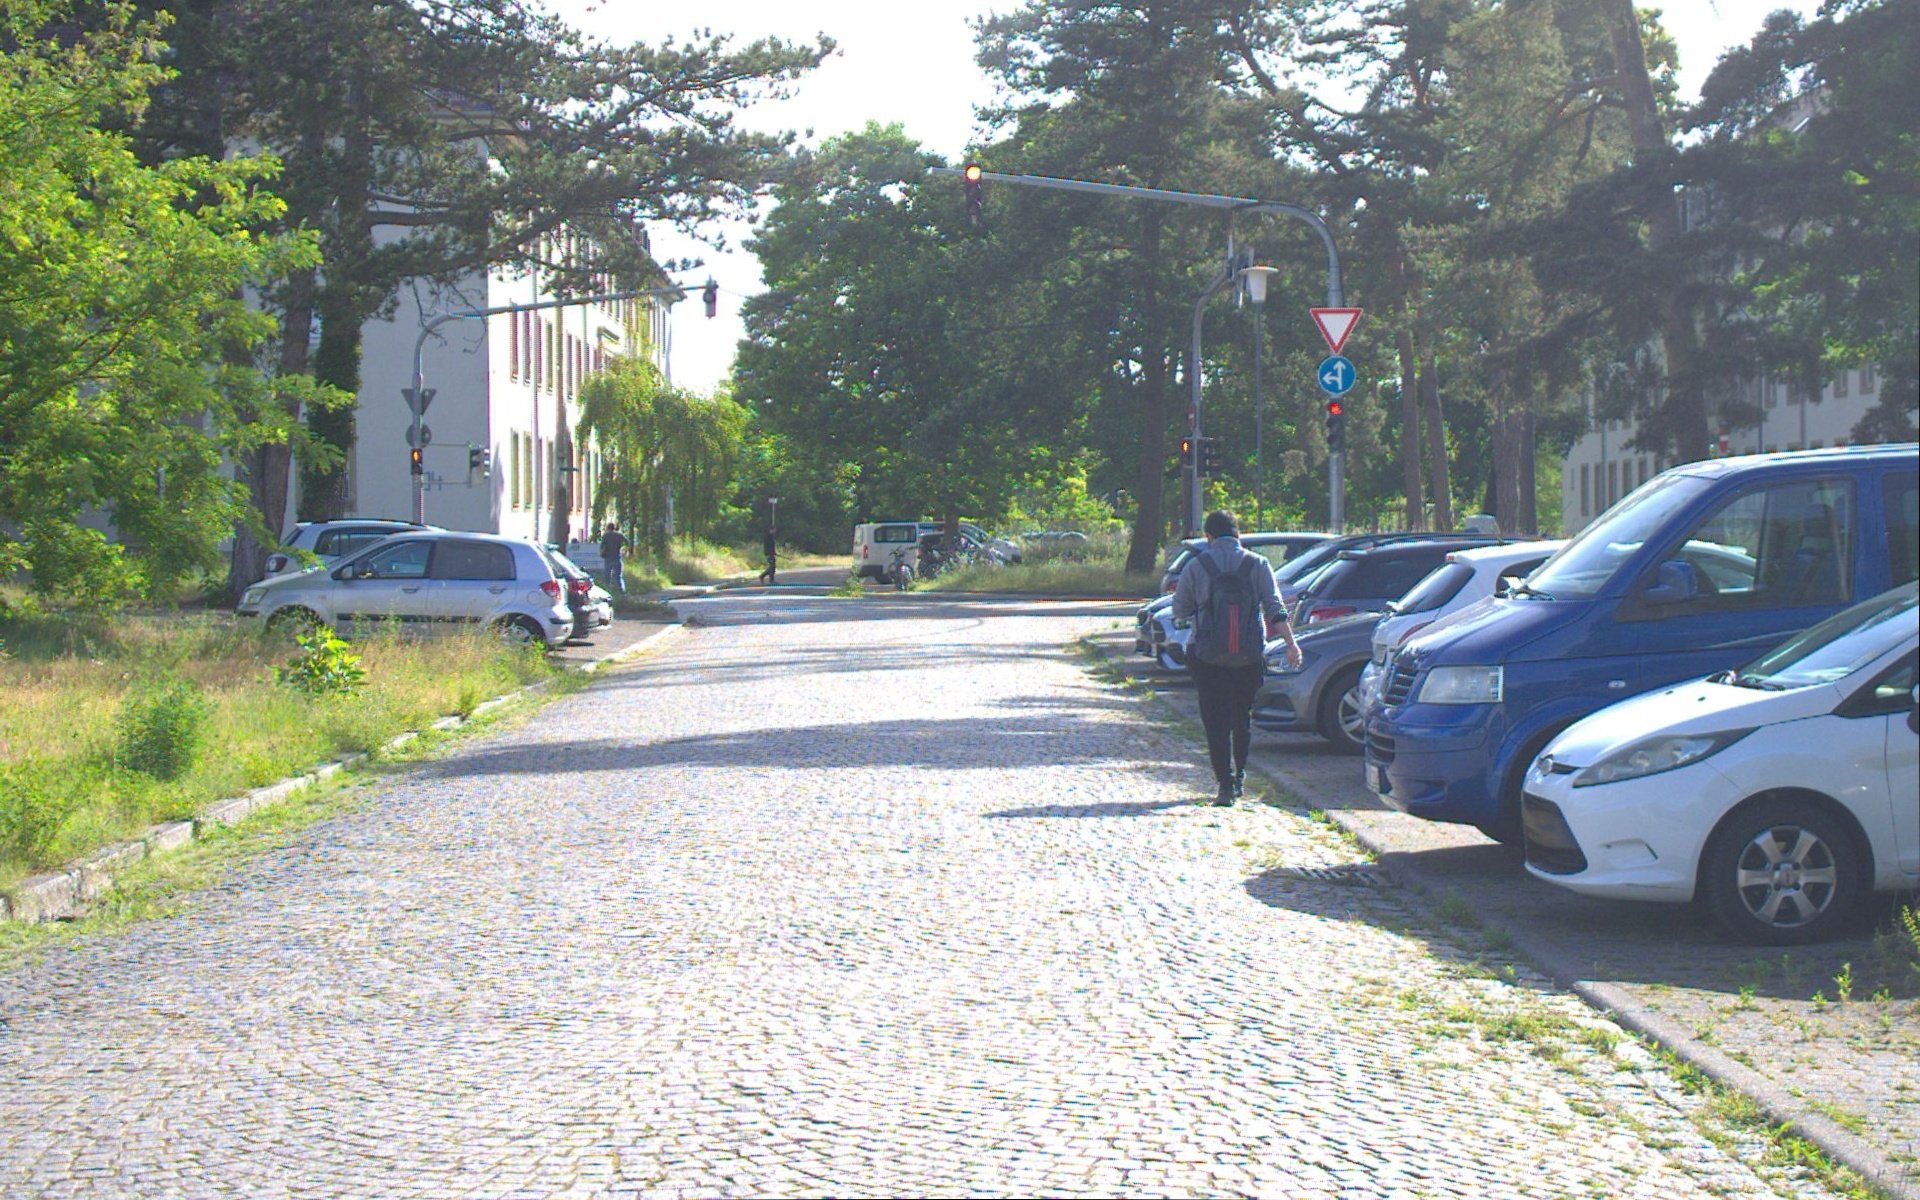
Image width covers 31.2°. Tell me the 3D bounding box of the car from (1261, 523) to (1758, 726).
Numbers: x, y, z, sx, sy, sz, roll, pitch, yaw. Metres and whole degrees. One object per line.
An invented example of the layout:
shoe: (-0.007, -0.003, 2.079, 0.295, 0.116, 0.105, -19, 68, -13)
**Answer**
car: (4.345, 0.169, 27.540, 3.663, 1.450, 1.667, -2, 1, -1)

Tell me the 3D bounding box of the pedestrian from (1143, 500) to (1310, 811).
pedestrian: (1.538, 0.308, 19.968, 0.753, 1.719, 0.828, 5, 1, -1)

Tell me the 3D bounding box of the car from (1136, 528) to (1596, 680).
car: (4.069, 0.020, 34.934, 4.399, 1.384, 1.789, -2, 1, -2)

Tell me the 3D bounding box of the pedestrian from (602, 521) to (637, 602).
pedestrian: (-7.430, -0.839, 74.958, 0.606, 1.746, 0.630, 0, 1, -21)

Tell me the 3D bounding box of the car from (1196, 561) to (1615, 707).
car: (3.858, 0.281, 30.129, 3.460, 1.238, 1.536, 0, 1, 0)

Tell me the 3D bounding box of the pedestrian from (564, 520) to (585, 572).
pedestrian: (-11.518, -1.611, 102.812, 0.606, 1.554, 0.545, 0, 1, -7)

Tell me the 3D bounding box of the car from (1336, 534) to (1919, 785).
car: (4.297, 0.346, 21.732, 3.645, 1.487, 1.634, -1, 1, 0)

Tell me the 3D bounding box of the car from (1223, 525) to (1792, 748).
car: (3.853, 0.237, 24.660, 3.781, 1.445, 1.758, -1, 1, 1)

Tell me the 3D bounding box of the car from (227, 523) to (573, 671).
car: (-6.340, -0.050, 39.199, 3.685, 1.522, 1.699, 2, 1, -3)

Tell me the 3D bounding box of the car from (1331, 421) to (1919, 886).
car: (4.303, 0.174, 16.483, 4.754, 2.007, 2.000, -2, 1, 0)

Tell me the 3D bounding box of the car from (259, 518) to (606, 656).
car: (-6.374, -0.176, 41.862, 3.937, 1.440, 1.691, 3, 1, -2)

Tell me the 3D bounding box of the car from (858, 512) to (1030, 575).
car: (-0.514, -1.765, 107.038, 5.065, 1.911, 2.001, 0, 1, -10)

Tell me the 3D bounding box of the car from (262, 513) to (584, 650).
car: (-6.893, -0.251, 44.391, 3.879, 1.610, 1.661, 2, 1, -2)

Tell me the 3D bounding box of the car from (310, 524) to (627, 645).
car: (-6.721, -0.229, 47.249, 3.987, 1.491, 1.772, 2, 1, 4)

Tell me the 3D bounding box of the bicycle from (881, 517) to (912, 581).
bicycle: (-1.578, -1.273, 85.554, 0.753, 1.575, 2.537, 0, 1, -1)

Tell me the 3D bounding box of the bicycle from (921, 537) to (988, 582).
bicycle: (-0.147, -1.060, 90.218, 1.727, 1.160, 0.561, 0, 1, -4)

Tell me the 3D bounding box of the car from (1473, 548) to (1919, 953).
car: (4.088, 0.532, 13.861, 3.719, 1.462, 1.610, -2, 1, -3)

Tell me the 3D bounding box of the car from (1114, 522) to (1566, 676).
car: (4.098, -0.033, 37.577, 4.619, 1.450, 1.870, -2, 1, -3)

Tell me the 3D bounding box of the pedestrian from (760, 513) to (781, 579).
pedestrian: (-5.767, -1.643, 104.659, 0.594, 2.007, 0.573, 0, 1, -1)

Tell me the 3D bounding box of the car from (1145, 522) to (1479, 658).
car: (4.066, -0.136, 40.113, 3.673, 1.438, 1.665, -2, 1, -1)

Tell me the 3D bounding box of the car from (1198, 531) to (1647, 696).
car: (4.321, 0.105, 32.519, 3.979, 1.443, 1.656, -1, 1, -1)

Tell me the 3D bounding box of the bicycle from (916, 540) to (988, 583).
bicycle: (-0.213, -1.001, 89.028, 1.834, 1.108, 0.495, 0, 1, -4)

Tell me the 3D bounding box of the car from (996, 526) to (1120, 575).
car: (3.153, -1.610, 110.863, 3.743, 1.574, 1.742, 0, 1, -8)
